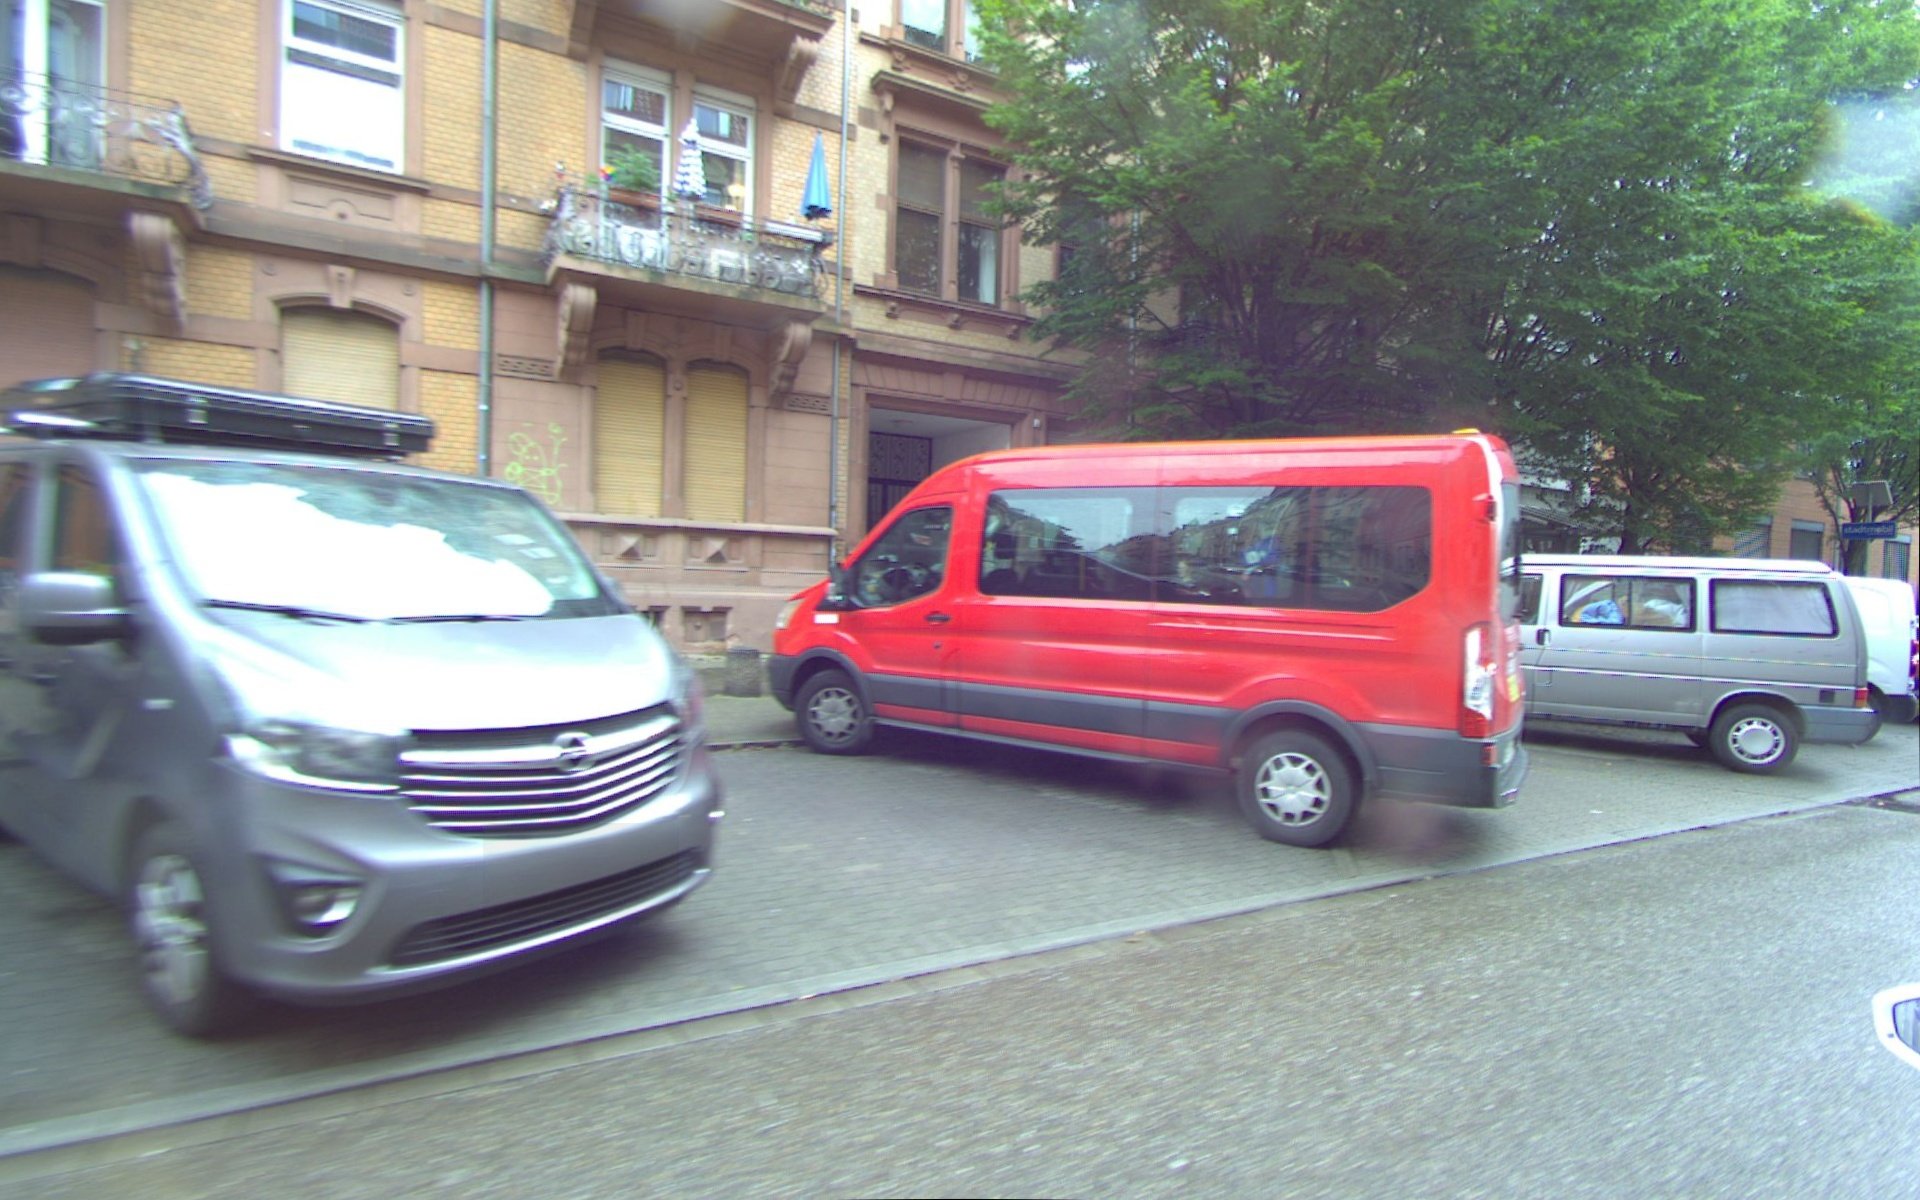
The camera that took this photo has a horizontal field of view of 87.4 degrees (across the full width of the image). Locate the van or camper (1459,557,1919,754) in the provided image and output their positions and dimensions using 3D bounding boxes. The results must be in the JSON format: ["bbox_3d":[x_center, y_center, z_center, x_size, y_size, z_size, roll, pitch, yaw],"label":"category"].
[{"bbox_3d":[9.126,0.548,12.765,4.605,1.979,2.337,4,3,19],"label":"van or camper"}]

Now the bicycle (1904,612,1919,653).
[{"bbox_3d":[28.900,1.044,29.247,0.547,1.168,1.885,1,6,-32],"label":"bicycle"}]

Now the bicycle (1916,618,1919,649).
[{"bbox_3d":[29.736,0.988,29.760,0.547,1.168,1.885,1,6,-32],"label":"bicycle"}]

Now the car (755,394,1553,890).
[{"bbox_3d":[1.236,0.103,7.645,5.478,2.575,2.223,3,2,33],"label":"car"}]

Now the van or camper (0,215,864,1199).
[{"bbox_3d":[-3.126,0.178,4.760,4.941,2.381,2.337,3,2,34],"label":"van or camper"}]

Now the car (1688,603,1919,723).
[{"bbox_3d":[13.182,0.909,14.503,3.901,1.466,1.767,4,3,20],"label":"car"}]

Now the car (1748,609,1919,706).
[{"bbox_3d":[15.216,0.926,16.316,3.411,1.455,1.652,1,0,18],"label":"car"}]

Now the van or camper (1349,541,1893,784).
[{"bbox_3d":[6.598,0.489,10.638,4.366,2.002,1.779,4,2,27],"label":"van or camper"}]
